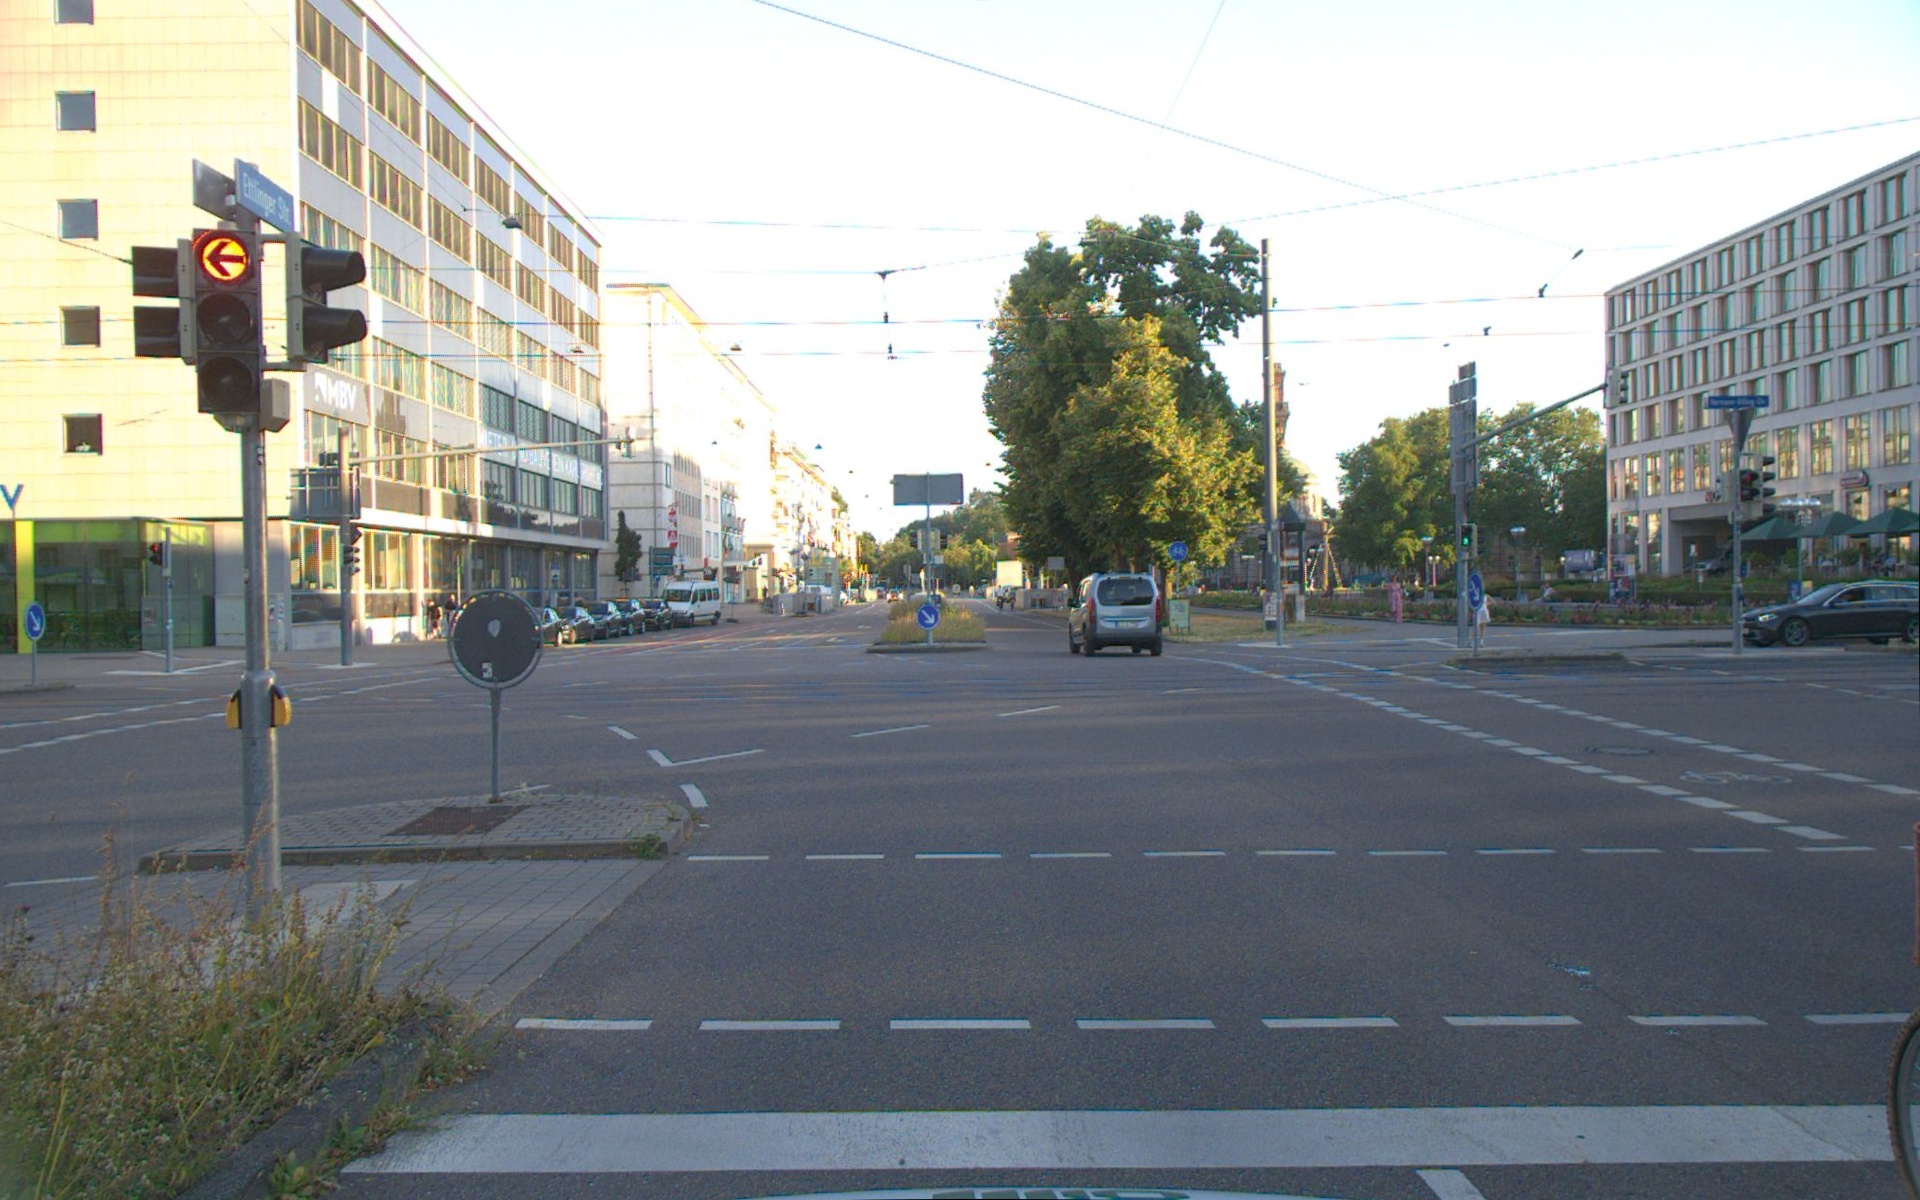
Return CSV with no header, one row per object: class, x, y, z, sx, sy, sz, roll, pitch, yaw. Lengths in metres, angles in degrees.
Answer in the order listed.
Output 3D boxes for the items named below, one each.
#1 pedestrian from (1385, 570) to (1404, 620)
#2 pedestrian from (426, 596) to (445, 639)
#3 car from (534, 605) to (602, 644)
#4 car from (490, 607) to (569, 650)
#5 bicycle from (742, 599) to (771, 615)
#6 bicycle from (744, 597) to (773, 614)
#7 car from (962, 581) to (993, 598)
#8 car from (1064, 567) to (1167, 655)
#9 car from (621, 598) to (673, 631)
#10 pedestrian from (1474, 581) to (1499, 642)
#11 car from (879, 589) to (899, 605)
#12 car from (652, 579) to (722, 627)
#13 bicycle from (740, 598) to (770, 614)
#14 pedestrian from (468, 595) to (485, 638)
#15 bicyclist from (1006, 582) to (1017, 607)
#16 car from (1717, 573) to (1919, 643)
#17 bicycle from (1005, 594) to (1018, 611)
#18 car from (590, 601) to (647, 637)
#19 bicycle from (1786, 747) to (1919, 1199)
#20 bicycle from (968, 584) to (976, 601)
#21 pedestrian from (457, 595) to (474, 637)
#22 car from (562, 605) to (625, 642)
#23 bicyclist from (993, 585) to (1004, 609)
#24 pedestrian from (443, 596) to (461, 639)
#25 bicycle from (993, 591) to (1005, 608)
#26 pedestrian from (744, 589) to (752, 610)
pedestrian,14.694,-0.167,55.921,0.451,1.685,0.566,-1,0,-1
pedestrian,-21.092,0.696,66.529,0.540,1.708,0.500,-1,0,-1
car,-16.119,0.995,68.166,1.882,1.489,3.999,-1,0,-1
car,-16.010,1.035,61.654,1.882,1.489,4.102,-1,0,-1
bicycle,-15.579,0.552,126.762,2.161,1.131,0.689,-1,0,-2
bicycle,-15.661,0.438,128.630,2.161,1.258,0.839,-1,0,-2
car,2.243,-1.379,212.713,3.909,2.049,1.998,-1,0,-5
car,3.603,0.236,39.065,1.728,1.921,4.497,-1,0,-3
car,-15.962,0.736,84.515,1.882,1.595,3.999,-1,0,-1
pedestrian,13.827,0.303,43.448,0.480,1.566,0.408,-1,0,-1
car,-7.492,-0.325,174.230,1.825,1.546,4.000,-1,0,0
car,-14.944,0.148,90.991,1.958,2.521,5.873,-1,0,9
bicycle,-15.521,0.471,125.084,2.161,1.131,0.618,-1,0,-3
pedestrian,-19.508,0.662,66.733,0.540,1.708,0.500,-1,0,-1
bicyclist,3.639,-0.406,117.544,0.731,1.720,0.799,-1,0,-1
car,21.115,0.171,39.926,4.724,1.542,2.000,-1,0,1
bicycle,3.652,0.150,117.699,0.731,1.164,2.505,-1,0,-1
car,-16.135,0.884,78.284,1.882,1.595,3.999,-1,0,-1
bicycle,2.217,0.922,2.810,0.599,1.152,2.004,1,0,-1
bicycle,1.585,-0.974,211.370,0.877,2.049,3.999,-1,0,-1
pedestrian,-20.087,0.653,67.225,0.490,1.708,0.500,-1,0,-1
car,-16.139,1.015,72.980,1.882,1.489,3.999,-1,0,-1
bicyclist,2.752,-0.221,117.311,0.731,1.692,0.873,-1,0,-1
pedestrian,-20.646,0.707,67.241,0.540,1.708,0.500,-1,0,-1
bicycle,2.741,-0.030,117.707,0.731,1.164,2.505,-1,0,-1
pedestrian,-21.059,-0.064,164.540,0.666,2.049,0.545,-1,0,-1
